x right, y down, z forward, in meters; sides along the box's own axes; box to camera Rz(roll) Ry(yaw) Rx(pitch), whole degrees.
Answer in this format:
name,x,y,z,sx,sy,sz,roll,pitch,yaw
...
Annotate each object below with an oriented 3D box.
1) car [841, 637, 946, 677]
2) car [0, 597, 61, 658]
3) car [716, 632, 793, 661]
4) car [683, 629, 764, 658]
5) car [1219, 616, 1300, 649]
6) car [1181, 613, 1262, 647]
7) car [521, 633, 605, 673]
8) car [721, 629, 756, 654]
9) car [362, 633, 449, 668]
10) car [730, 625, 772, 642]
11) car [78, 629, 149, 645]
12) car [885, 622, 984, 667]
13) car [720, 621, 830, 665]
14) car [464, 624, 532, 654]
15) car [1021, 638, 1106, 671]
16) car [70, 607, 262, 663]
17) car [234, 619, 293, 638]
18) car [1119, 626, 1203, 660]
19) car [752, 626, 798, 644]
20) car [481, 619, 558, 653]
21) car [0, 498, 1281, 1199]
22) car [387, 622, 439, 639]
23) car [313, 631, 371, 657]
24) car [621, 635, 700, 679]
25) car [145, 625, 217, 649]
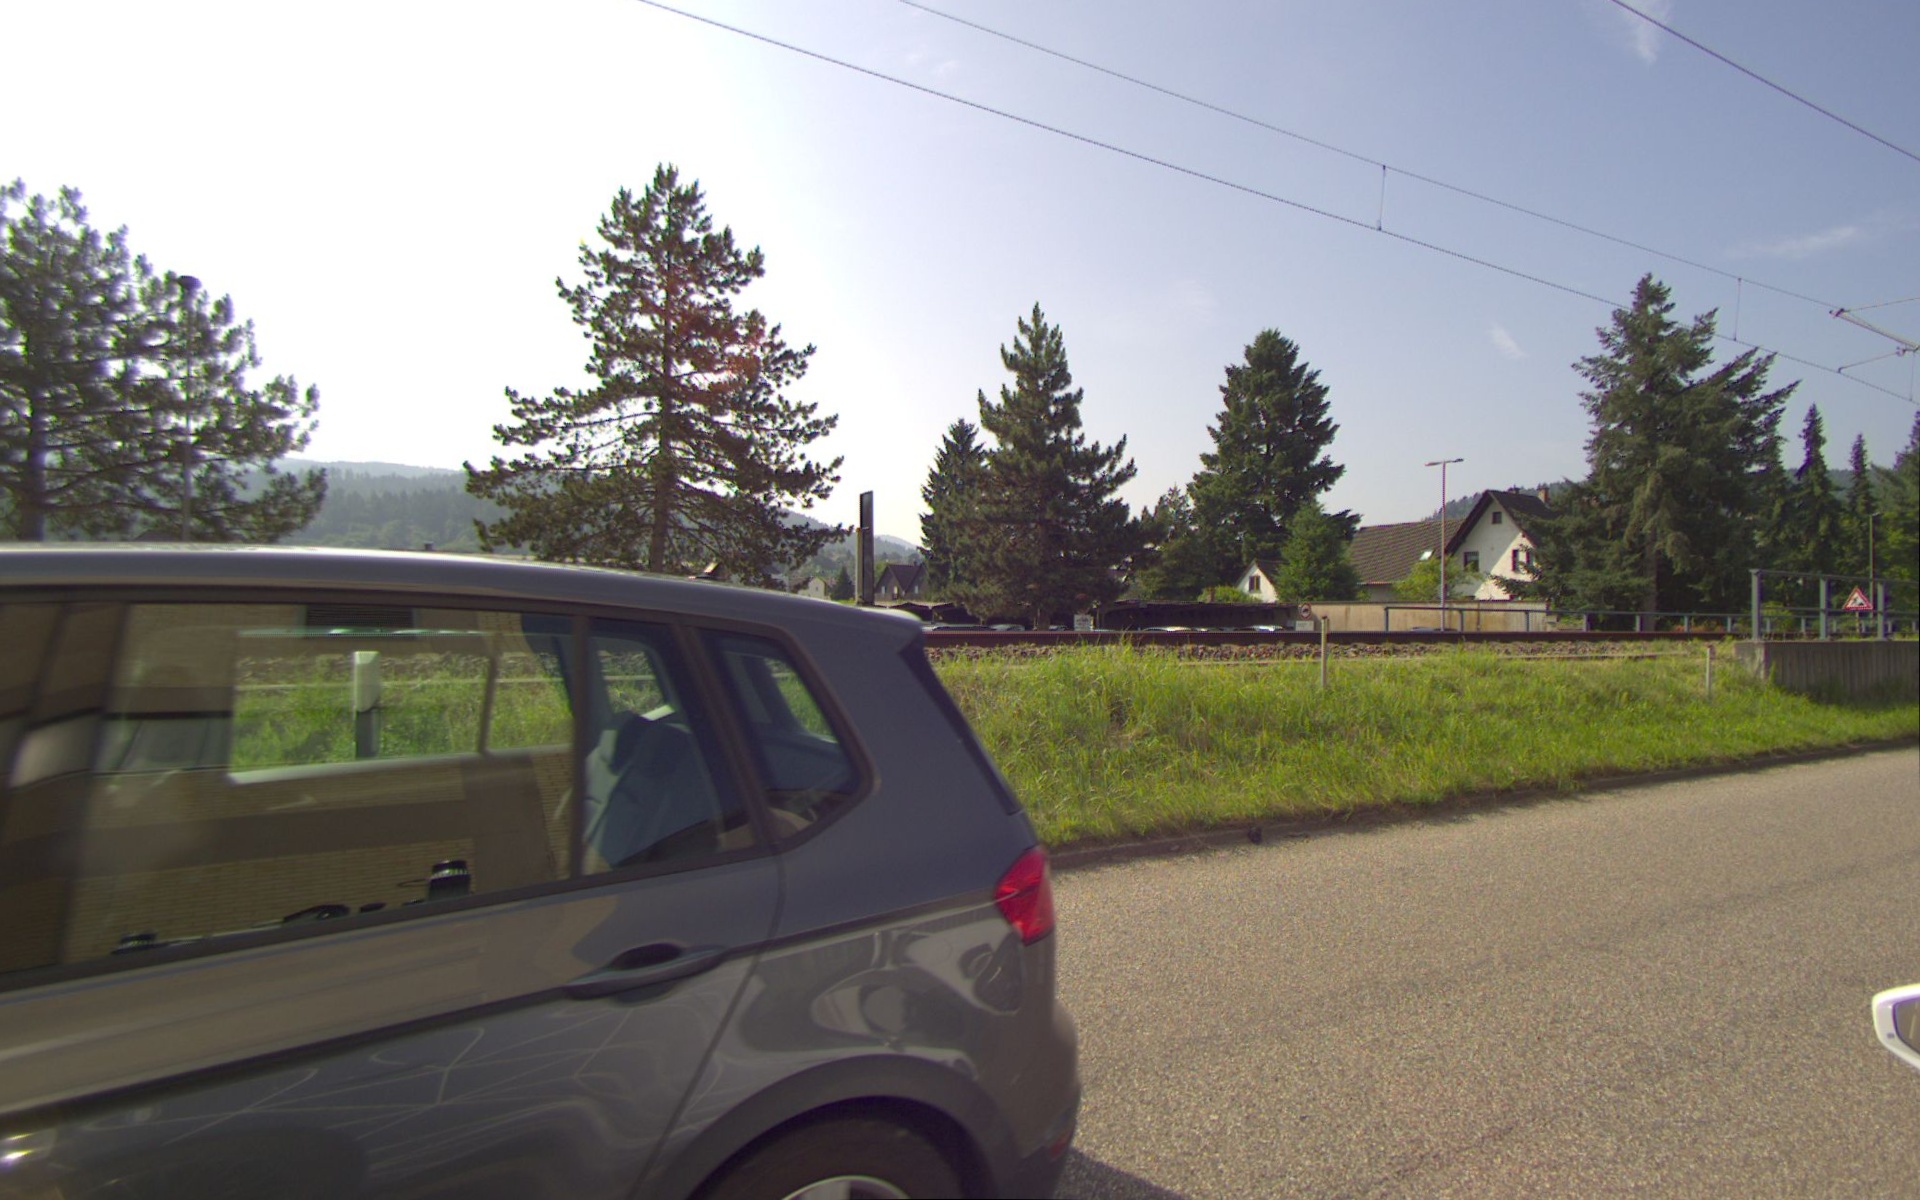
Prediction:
name,x,y,z,sx,sy,sz,roll,pitch,yaw
car,-2.306,1.985,35.245,3.465,1.343,1.458,0,-2,6
car,-23.222,0.644,23.528,3.450,1.375,1.520,0,-2,13
car,-10.192,2.294,49.871,3.465,1.412,1.458,0,-2,6
car,-11.222,2.069,47.765,3.465,1.343,1.458,0,-2,6
car,16.473,1.769,55.426,1.802,1.688,3.955,1,-1,-38
car,14.075,1.607,54.232,1.802,1.688,3.955,1,-1,-38
car,-13.913,1.830,35.404,1.428,1.342,3.538,0,-2,2
car,-12.239,2.277,55.700,1.429,1.342,3.535,0,-2,-5
car,-22.392,2.002,40.719,1.428,1.342,3.538,0,-2,2
car,-16.514,2.636,79.498,1.429,1.343,3.535,0,-2,24
car,-58.088,2.533,68.997,3.498,1.125,1.327,1,-2,-32
car,-0.962,1.748,39.802,3.729,1.710,1.647,0,-1,5
car,-6.730,1.552,36.724,3.642,1.518,1.683,0,-1,4
car,-21.561,1.795,47.002,1.428,1.342,3.538,0,-2,2
car,4.323,2.259,42.067,3.465,1.343,1.458,0,-2,6
car,-19.856,0.868,25.183,3.779,1.343,1.566,0,-2,8
car,-50.871,2.088,73.428,3.403,1.343,1.434,1,-2,-31
car,10.115,2.121,50.756,1.802,1.557,3.955,1,-1,-38
car,-14.108,2.663,76.791,1.432,1.343,3.528,-1,-2,32
car,-18.016,1.467,41.226,1.428,1.342,3.538,0,-2,2
car,-1.522,0.663,1.750,4.045,1.546,1.722,1,0,-31
car,-42.578,2.368,78.164,3.498,1.343,1.445,1,-2,-32
car,-33.843,2.388,55.112,1.431,1.342,3.531,1,-2,-9
car,-9.884,1.849,33.356,1.428,1.342,3.538,0,-2,2
car,-50.659,2.381,65.335,3.466,1.543,1.567,0,-2,2
